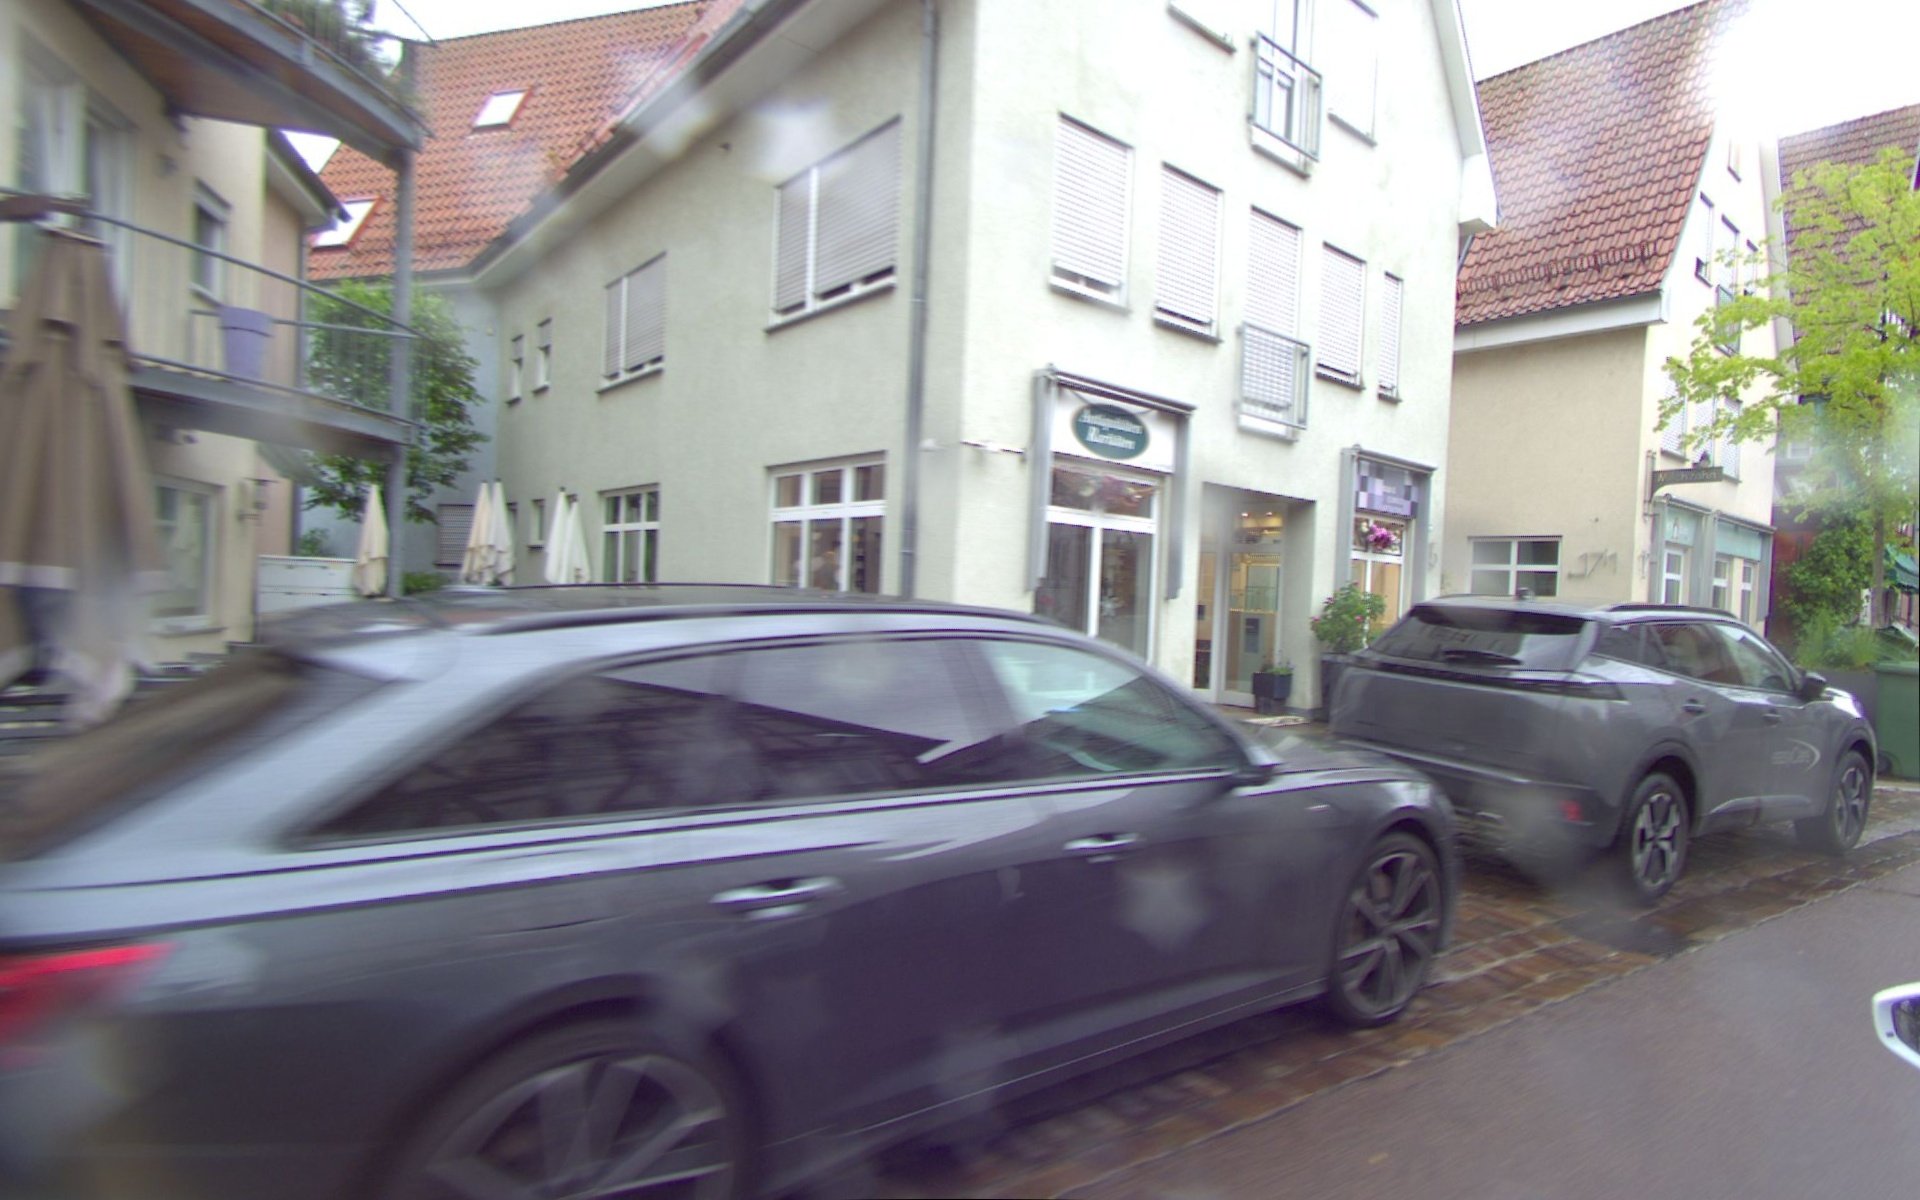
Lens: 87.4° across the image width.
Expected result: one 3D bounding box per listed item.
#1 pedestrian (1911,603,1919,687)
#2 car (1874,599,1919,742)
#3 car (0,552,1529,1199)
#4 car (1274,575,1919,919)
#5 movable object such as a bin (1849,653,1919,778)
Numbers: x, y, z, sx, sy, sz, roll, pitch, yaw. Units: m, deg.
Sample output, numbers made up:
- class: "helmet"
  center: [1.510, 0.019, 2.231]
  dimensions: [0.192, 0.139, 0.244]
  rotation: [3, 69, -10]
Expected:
- class: "pedestrian"
  center: [20.156, 0.945, 20.528]
  dimensions: [1.166, 1.704, 0.782]
  rotation: [3, 1, -38]
- class: "car"
  center: [13.701, 0.979, 12.824]
  dimensions: [4.592, 1.688, 1.814]
  rotation: [3, 1, -33]
- class: "car"
  center: [-0.126, 0.664, 3.355]
  dimensions: [4.576, 1.461, 1.848]
  rotation: [1, 1, -37]
- class: "car"
  center: [4.297, 0.711, 6.569]
  dimensions: [4.278, 1.545, 1.852]
  rotation: [1, 3, -31]
- class: "movable object such as a bin"
  center: [8.985, 1.086, 9.441]
  dimensions: [0.737, 1.097, 0.741]
  rotation: [3, 1, -35]
